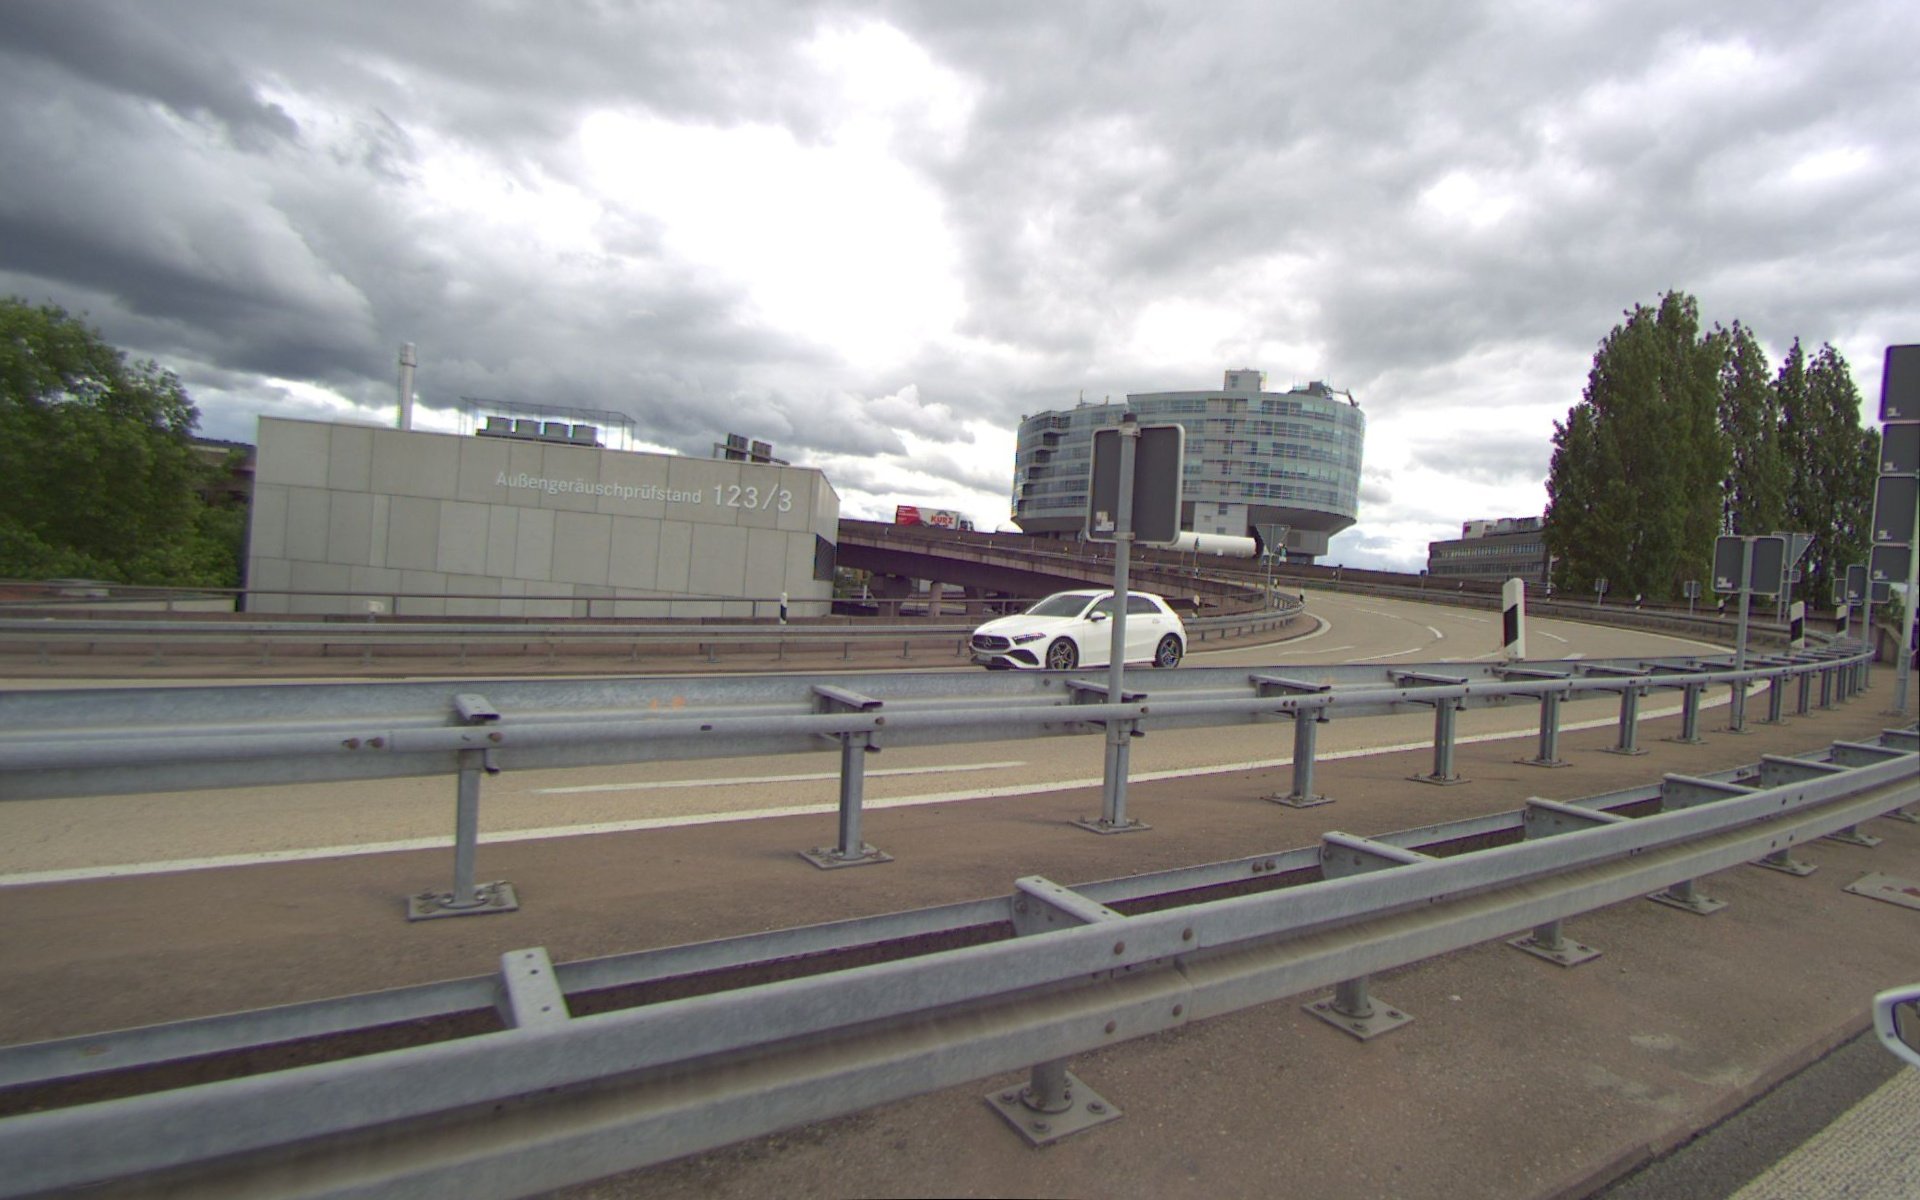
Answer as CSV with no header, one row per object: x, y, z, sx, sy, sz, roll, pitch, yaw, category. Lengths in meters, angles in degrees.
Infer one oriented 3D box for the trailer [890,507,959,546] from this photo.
-4.101,-8.497,116.458,7.168,3.738,2.700,6,1,17,trailer

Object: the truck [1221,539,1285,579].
29.524,-4.133,101.437,5.846,3.475,2.779,6,1,16,truck

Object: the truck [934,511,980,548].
-0.352,-8.119,115.320,4.351,3.738,2.700,6,1,17,truck

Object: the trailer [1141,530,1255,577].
24.325,-4.785,102.944,10.933,3.786,2.802,6,1,16,trailer

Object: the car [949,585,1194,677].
2.058,0.530,17.800,4.329,1.433,1.895,1,-1,-40,car
